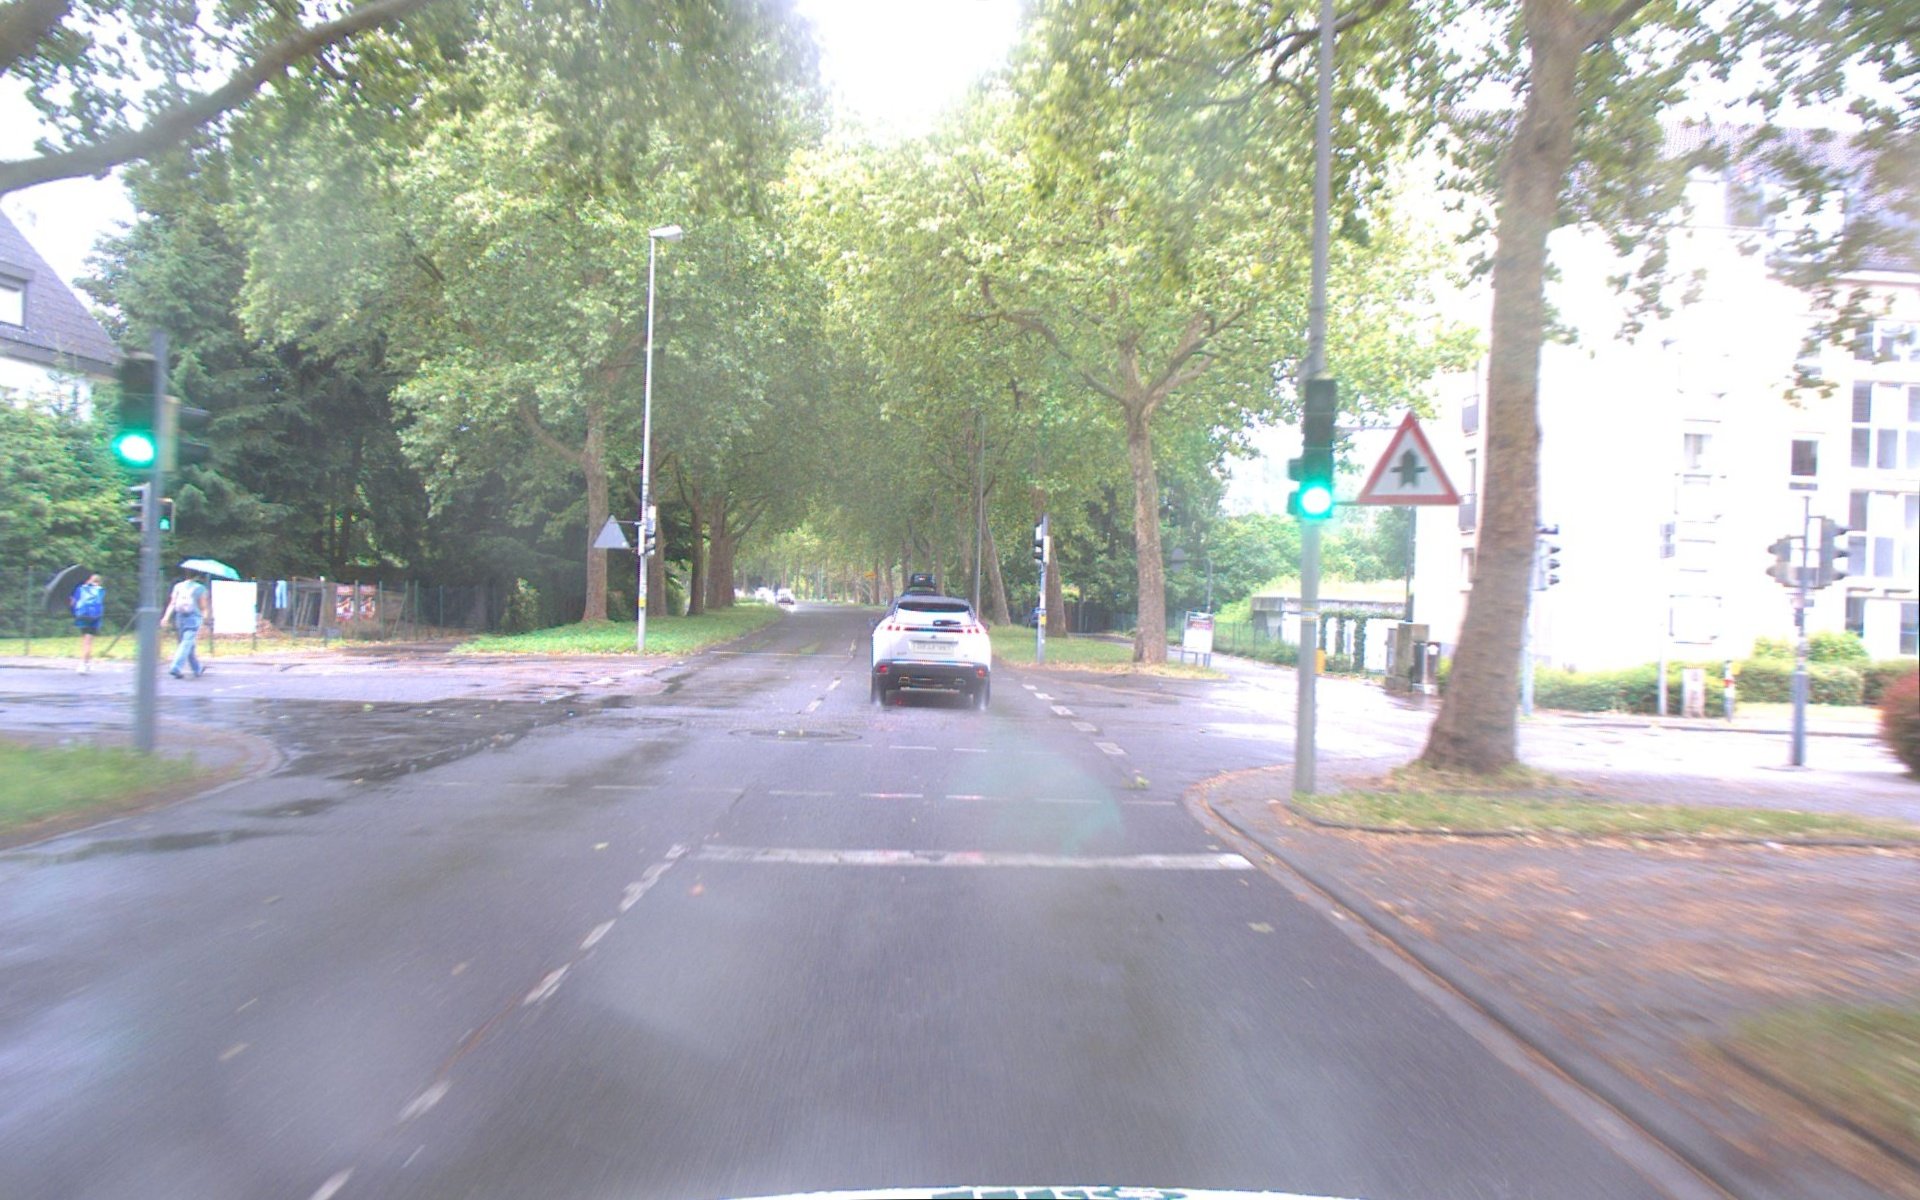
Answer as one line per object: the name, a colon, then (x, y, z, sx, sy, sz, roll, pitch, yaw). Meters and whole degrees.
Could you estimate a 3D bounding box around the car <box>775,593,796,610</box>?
car: (-17.499, 0.158, 165.932, 1.836, 1.706, 3.706, 2, 0, -3)

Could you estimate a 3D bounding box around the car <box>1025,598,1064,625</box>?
car: (4.942, 0.652, 97.007, 1.867, 1.536, 3.929, 2, 0, -3)

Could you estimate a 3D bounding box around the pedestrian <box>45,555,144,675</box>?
pedestrian: (-13.282, 0.227, 25.402, 1.011, 1.796, 0.879, 1, 0, 1)

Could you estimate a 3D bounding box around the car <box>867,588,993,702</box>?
car: (-0.513, 0.636, 25.256, 1.745, 1.563, 4.055, 1, 0, -3)

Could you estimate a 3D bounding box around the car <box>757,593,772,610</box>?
car: (-24.323, 0.138, 205.856, 1.707, 2.049, 3.661, 2, 0, -4)

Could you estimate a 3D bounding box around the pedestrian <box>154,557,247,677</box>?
pedestrian: (-11.752, 0.257, 25.623, 1.011, 1.796, 0.838, 1, 0, 1)
